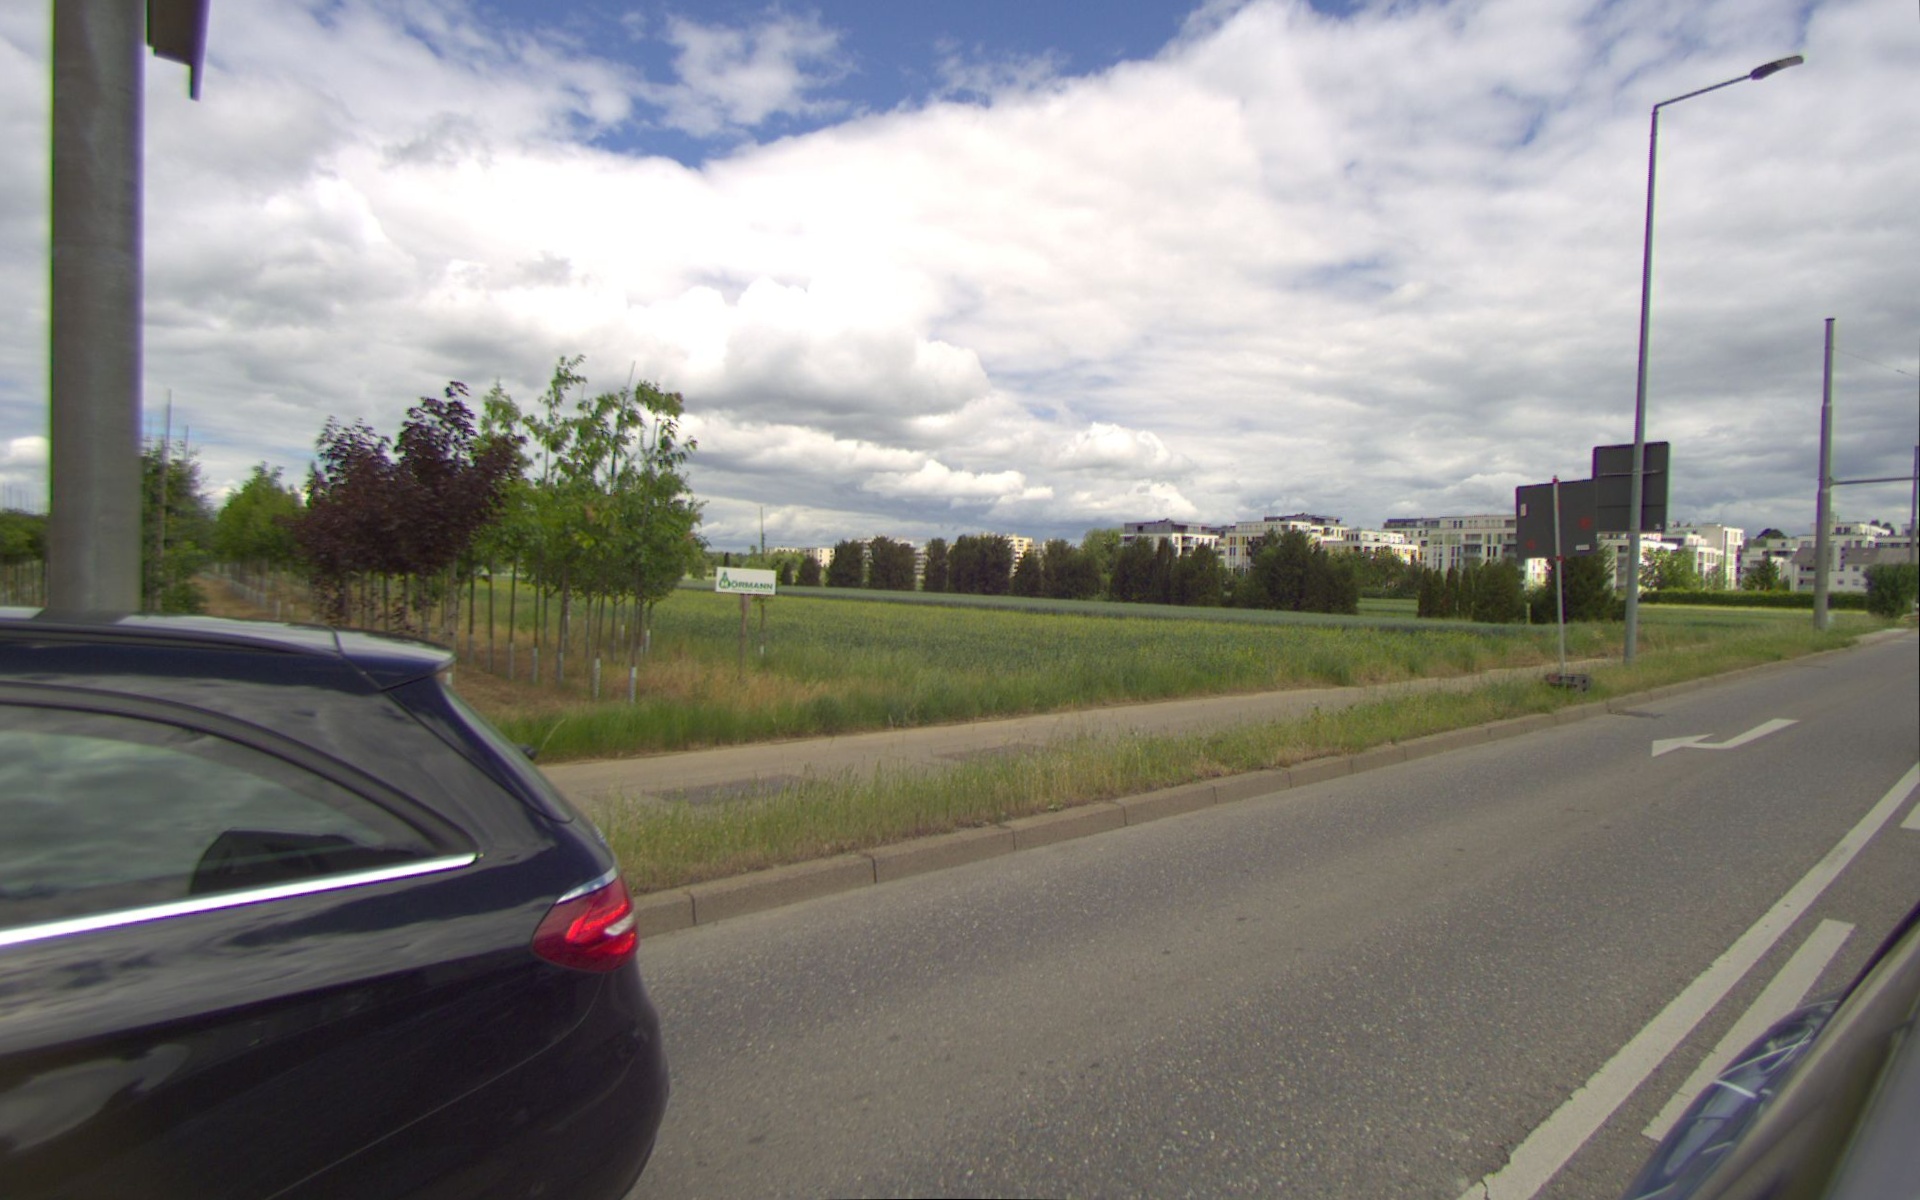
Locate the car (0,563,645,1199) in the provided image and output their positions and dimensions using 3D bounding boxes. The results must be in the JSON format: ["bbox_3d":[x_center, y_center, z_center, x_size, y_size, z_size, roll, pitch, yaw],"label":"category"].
[{"bbox_3d":[-3.043,0.672,0.671,5.112,1.458,1.875,0,2,-43],"label":"car"}]
